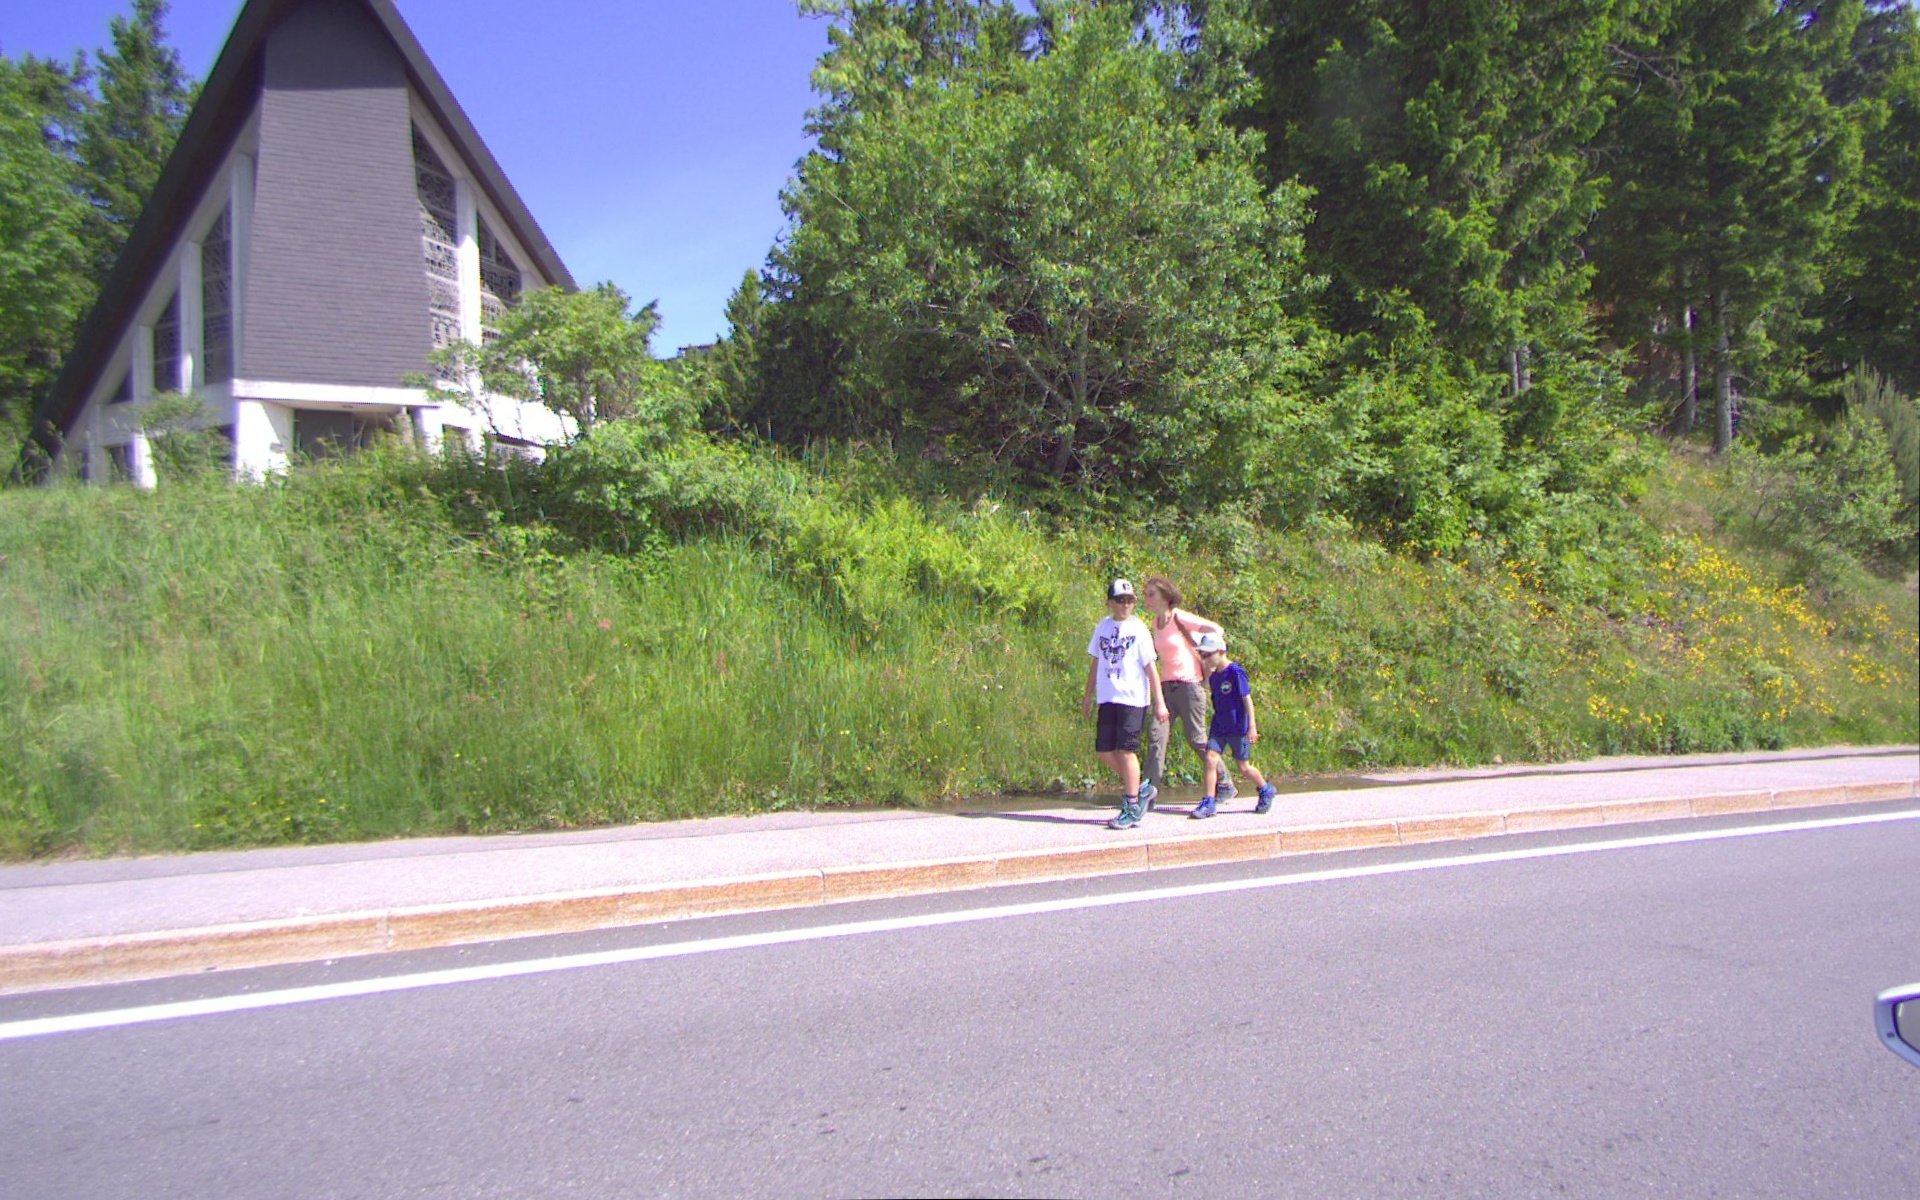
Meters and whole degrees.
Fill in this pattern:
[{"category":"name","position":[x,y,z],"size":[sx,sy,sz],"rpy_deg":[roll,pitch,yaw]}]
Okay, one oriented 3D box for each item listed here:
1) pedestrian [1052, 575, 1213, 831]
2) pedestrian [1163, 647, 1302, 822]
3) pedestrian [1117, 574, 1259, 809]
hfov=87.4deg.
[{"category":"pedestrian","position":[1.117,0.637,6.561],"size":[0.867,1.558,0.579],"rpy_deg":[0,-1,-24]},{"category":"pedestrian","position":[1.872,0.896,6.934],"size":[0.733,1.116,0.568],"rpy_deg":[0,-1,-20]},{"category":"pedestrian","position":[1.705,0.655,7.556],"size":[0.881,1.664,0.575],"rpy_deg":[0,-1,-21]}]
